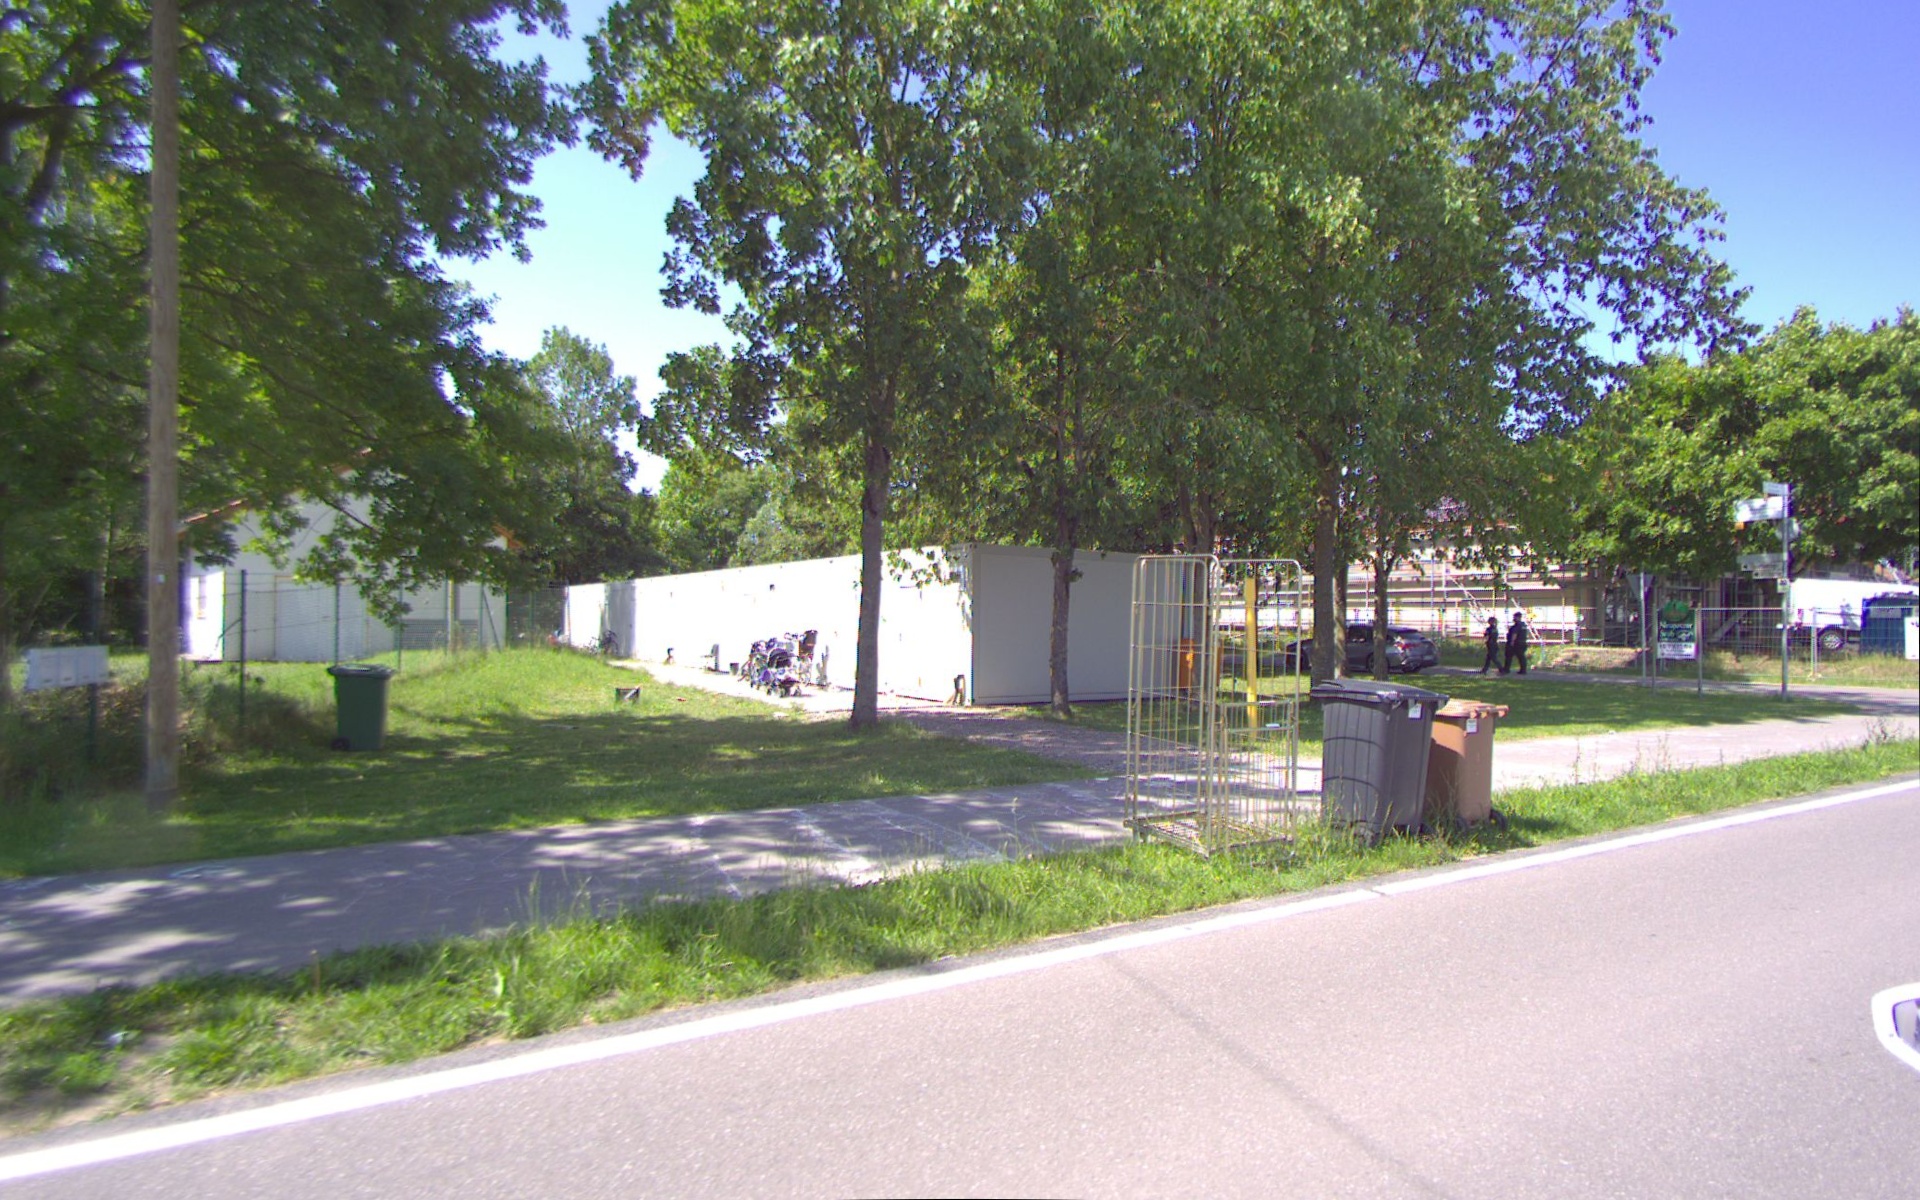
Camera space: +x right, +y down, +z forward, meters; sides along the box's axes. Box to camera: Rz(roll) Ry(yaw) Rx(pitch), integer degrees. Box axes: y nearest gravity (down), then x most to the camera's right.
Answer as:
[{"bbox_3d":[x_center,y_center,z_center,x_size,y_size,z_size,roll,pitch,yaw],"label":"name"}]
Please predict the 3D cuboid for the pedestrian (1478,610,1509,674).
[{"bbox_3d":[14.873,1.160,28.008,0.582,1.774,0.598,1,-1,-39],"label":"pedestrian"}]

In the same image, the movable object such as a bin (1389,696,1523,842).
[{"bbox_3d":[3.367,1.121,6.836,0.605,0.888,0.561,1,-1,-22],"label":"movable object such as a bin"}]

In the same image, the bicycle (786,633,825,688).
[{"bbox_3d":[-3.617,1.398,23.469,0.419,1.229,1.233,1,-1,-32],"label":"bicycle"}]

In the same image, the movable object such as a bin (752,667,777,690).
[{"bbox_3d":[-4.329,1.734,22.260,0.294,0.468,0.664,1,-2,-34],"label":"movable object such as a bin"}]

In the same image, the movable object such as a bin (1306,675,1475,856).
[{"bbox_3d":[2.766,1.026,6.488,0.737,1.038,0.697,1,-1,-22],"label":"movable object such as a bin"}]

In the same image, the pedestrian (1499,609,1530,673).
[{"bbox_3d":[15.621,1.155,28.295,0.582,1.774,0.598,1,-1,-39],"label":"pedestrian"}]

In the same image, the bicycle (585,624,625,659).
[{"bbox_3d":[-14.097,1.632,39.816,0.722,1.327,3.335,1,-2,-33],"label":"bicycle"}]

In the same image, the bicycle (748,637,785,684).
[{"bbox_3d":[-4.720,1.462,24.462,0.500,1.096,1.234,1,-1,-31],"label":"bicycle"}]

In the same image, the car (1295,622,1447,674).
[{"bbox_3d":[11.947,1.350,29.380,1.743,1.417,3.772,1,-2,-37],"label":"car"}]

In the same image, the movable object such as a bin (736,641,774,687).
[{"bbox_3d":[-4.759,1.474,23.294,0.657,1.027,0.690,1,-1,-34],"label":"movable object such as a bin"}]

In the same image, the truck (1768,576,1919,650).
[{"bbox_3d":[32.946,0.474,36.012,5.818,2.516,1.999,1,-1,24],"label":"truck"}]

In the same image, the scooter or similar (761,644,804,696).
[{"bbox_3d":[-3.605,1.415,20.399,0.529,1.010,0.888,1,-1,-35],"label":"scooter or similar"}]
